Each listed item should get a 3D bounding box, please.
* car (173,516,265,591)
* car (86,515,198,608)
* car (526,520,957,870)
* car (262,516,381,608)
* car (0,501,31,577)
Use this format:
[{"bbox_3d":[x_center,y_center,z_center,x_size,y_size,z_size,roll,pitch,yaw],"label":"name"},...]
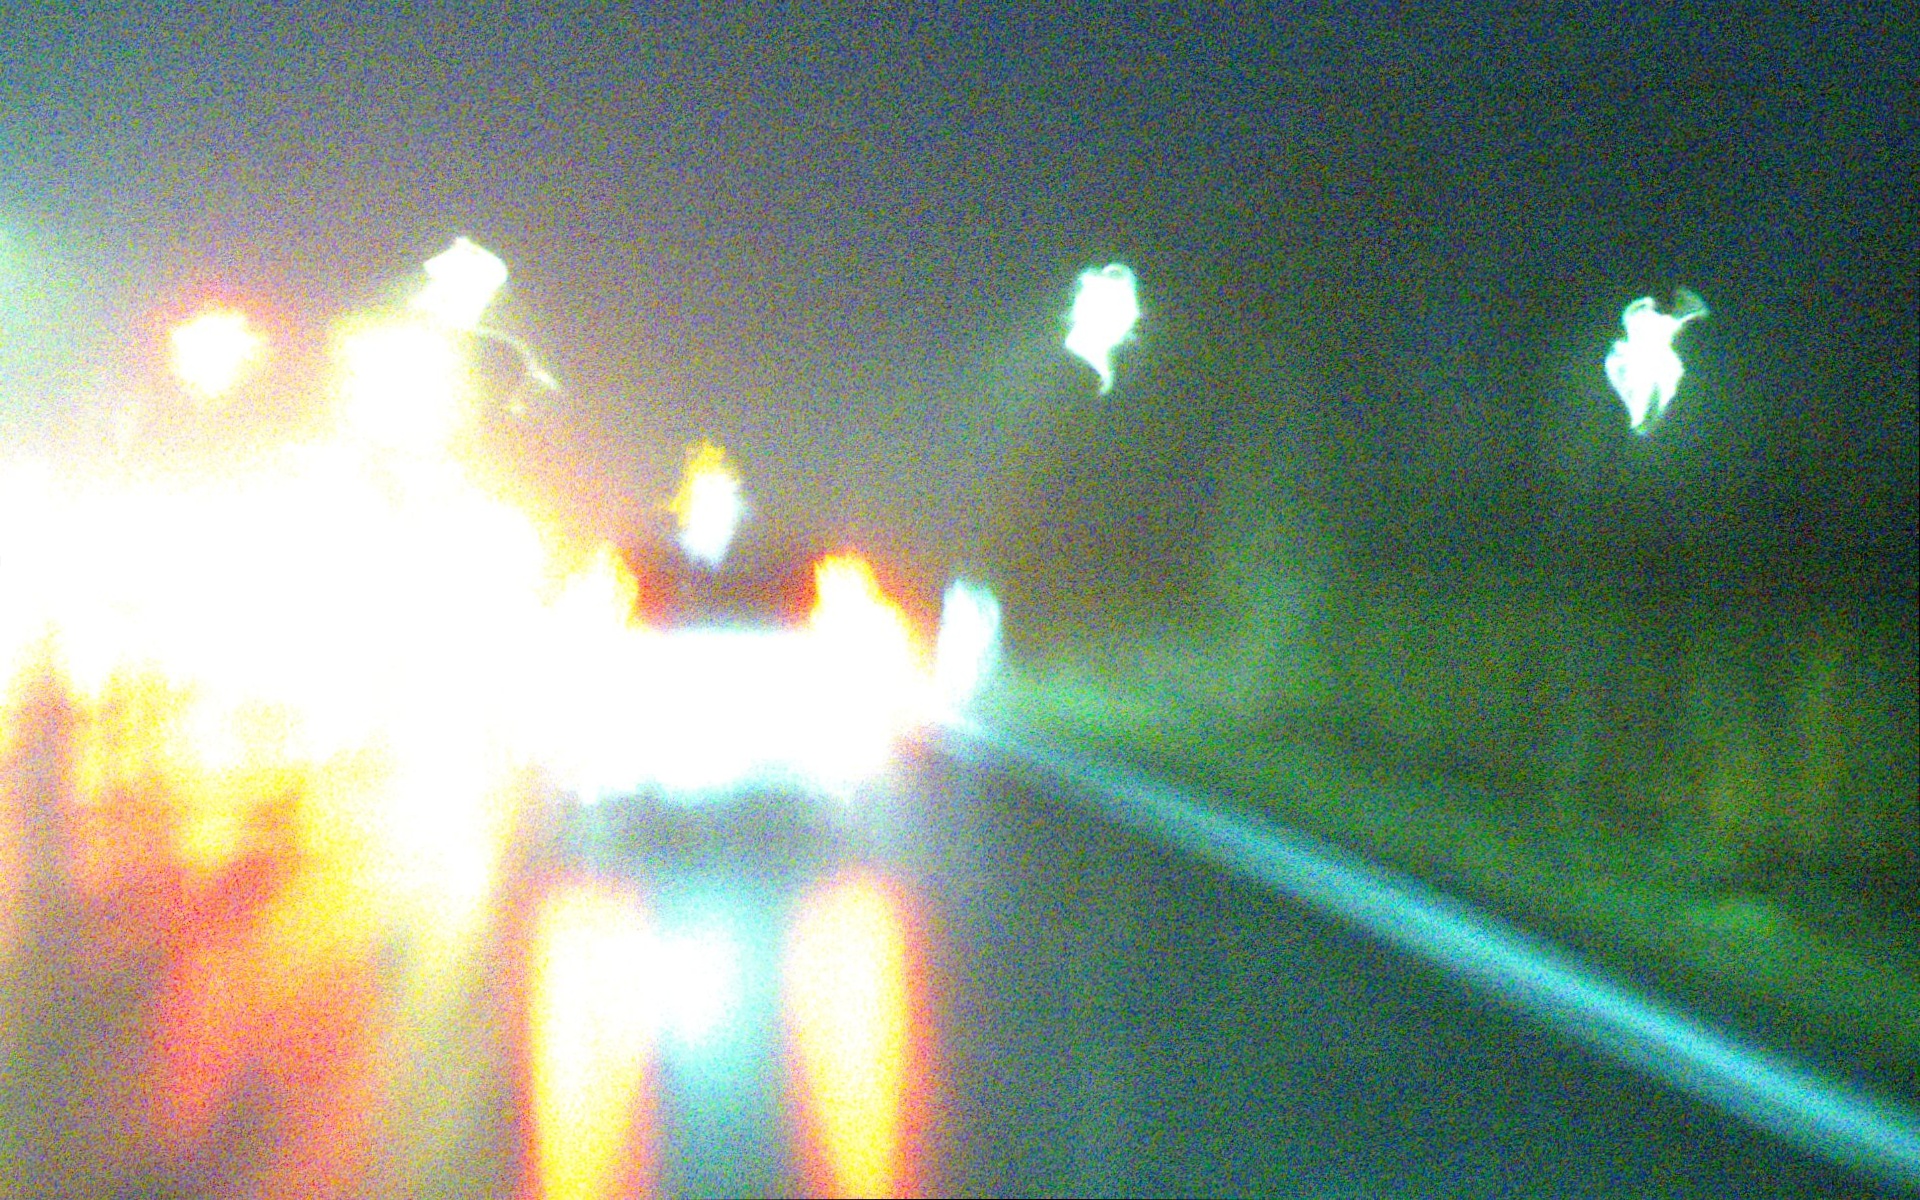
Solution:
[{"bbox_3d":[-17.730,-1.136,82.159,1.993,1.622,4.986,-2,2,-13],"label":"car"},{"bbox_3d":[-15.976,-0.788,67.221,1.993,1.622,4.986,-2,2,-13],"label":"car"},{"bbox_3d":[-1.267,0.437,18.507,1.993,1.622,4.985,0,0,-6],"label":"car"},{"bbox_3d":[-12.513,-0.774,67.198,1.993,1.622,4.986,-2,2,-13],"label":"car"},{"bbox_3d":[-22.115,-1.376,77.566,1.993,1.622,4.986,-2,2,-13],"label":"car"}]
